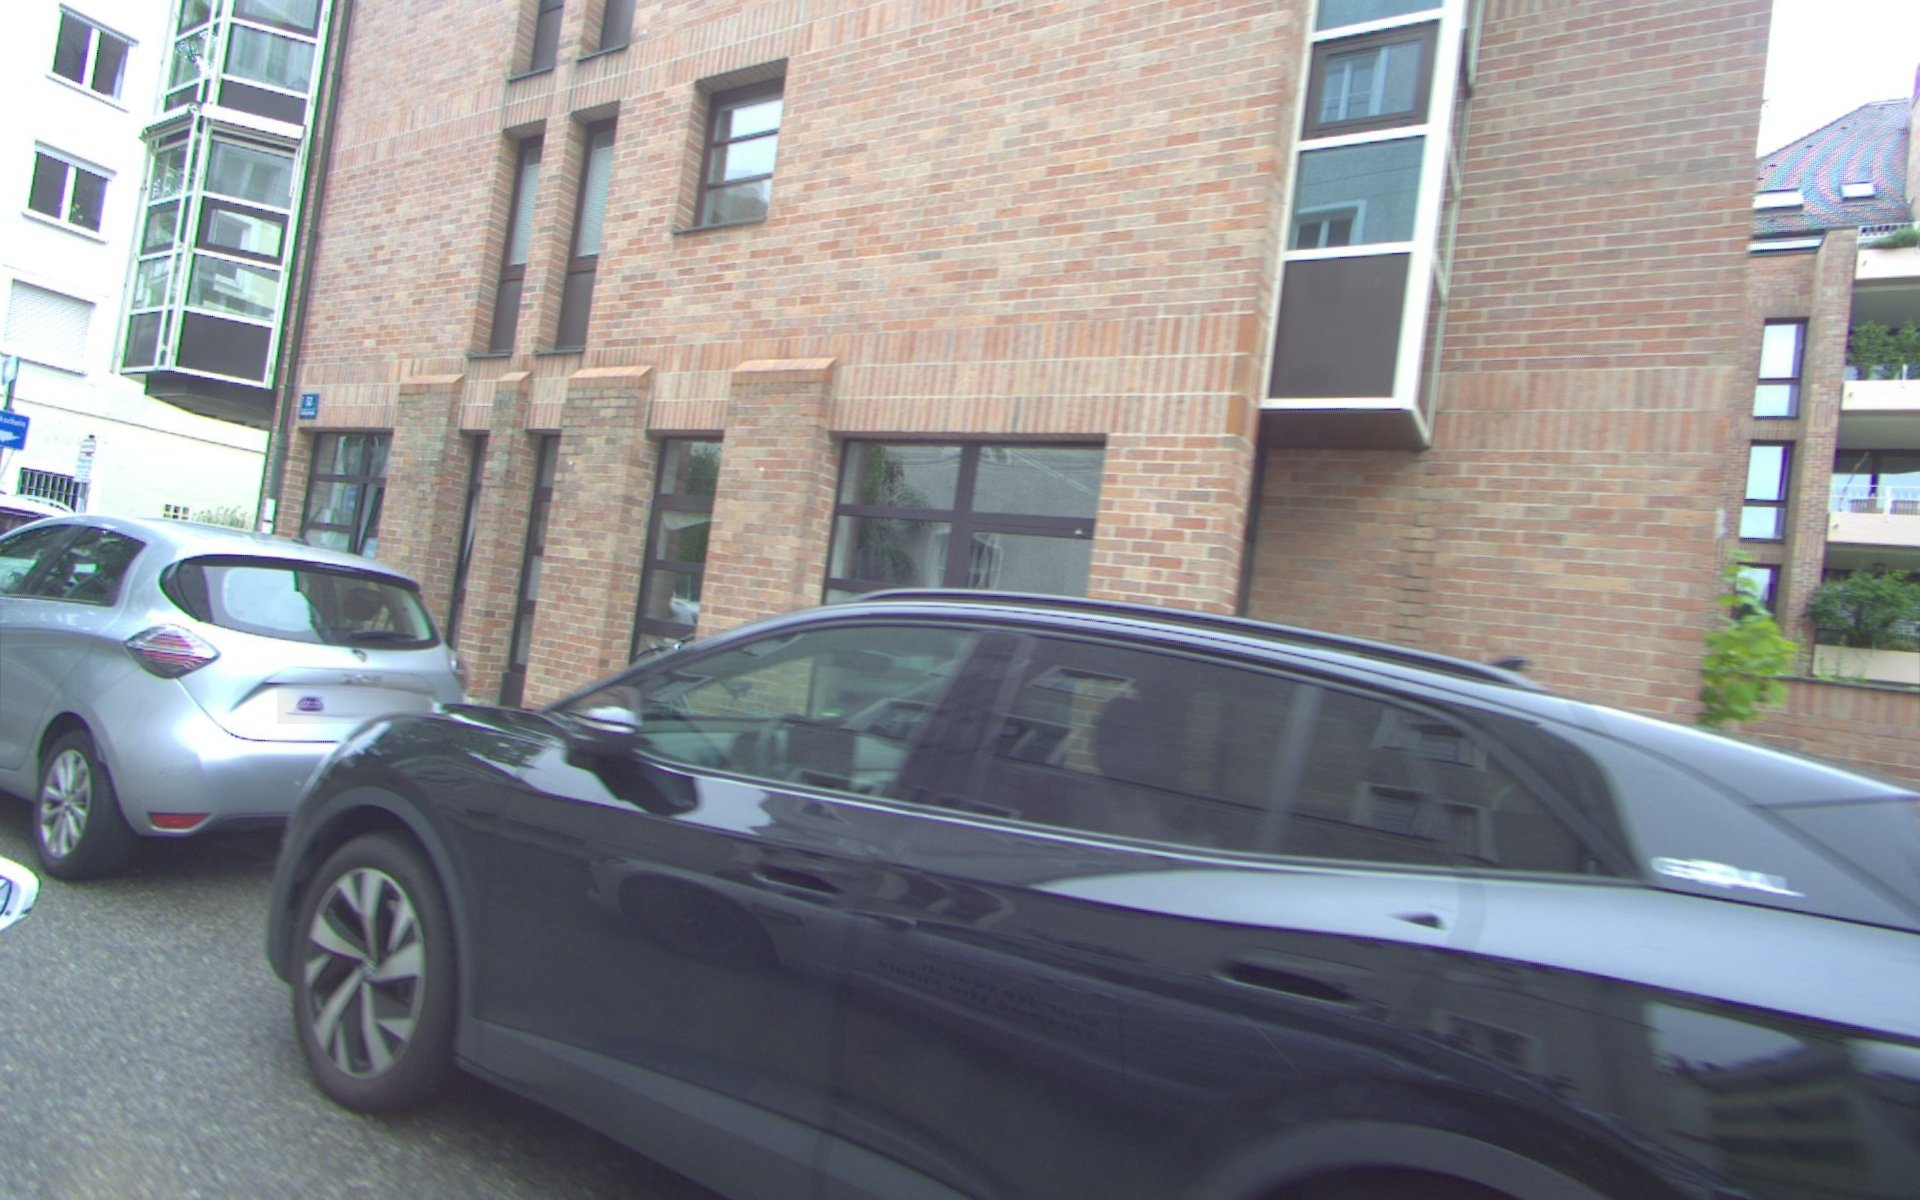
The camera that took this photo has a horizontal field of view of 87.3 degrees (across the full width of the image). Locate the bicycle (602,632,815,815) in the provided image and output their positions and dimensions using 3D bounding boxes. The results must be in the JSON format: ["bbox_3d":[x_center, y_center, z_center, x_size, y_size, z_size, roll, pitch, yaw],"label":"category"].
[{"bbox_3d":[-1.879,0.887,7.464,1.447,1.091,0.561,6,-2,32],"label":"bicycle"}]

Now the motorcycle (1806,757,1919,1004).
[{"bbox_3d":[6.180,1.738,5.771,1.914,1.360,0.539,5,-2,43],"label":"motorcycle"}]

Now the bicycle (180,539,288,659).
[{"bbox_3d":[-8.765,-0.022,12.129,1.527,1.291,0.379,6,-1,32],"label":"bicycle"}]

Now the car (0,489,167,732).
[{"bbox_3d":[-8.307,-0.125,7.831,4.125,1.648,1.753,7,-2,29],"label":"car"}]

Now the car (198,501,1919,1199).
[{"bbox_3d":[0.156,0.807,2.783,4.316,1.572,1.892,6,-3,29],"label":"car"}]

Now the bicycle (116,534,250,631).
[{"bbox_3d":[-11.270,-0.244,14.601,1.523,1.172,0.380,8,-2,3],"label":"bicycle"}]

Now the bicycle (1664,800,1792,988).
[{"bbox_3d":[4.680,1.742,6.186,0.407,0.869,1.319,6,-2,31],"label":"bicycle"}]

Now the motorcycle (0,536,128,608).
[{"bbox_3d":[-17.943,-0.539,20.057,1.897,1.120,0.622,9,-2,-11],"label":"motorcycle"}]

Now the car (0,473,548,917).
[{"bbox_3d":[-4.369,0.294,5.508,3.814,1.654,1.726,6,-2,28],"label":"car"}]
